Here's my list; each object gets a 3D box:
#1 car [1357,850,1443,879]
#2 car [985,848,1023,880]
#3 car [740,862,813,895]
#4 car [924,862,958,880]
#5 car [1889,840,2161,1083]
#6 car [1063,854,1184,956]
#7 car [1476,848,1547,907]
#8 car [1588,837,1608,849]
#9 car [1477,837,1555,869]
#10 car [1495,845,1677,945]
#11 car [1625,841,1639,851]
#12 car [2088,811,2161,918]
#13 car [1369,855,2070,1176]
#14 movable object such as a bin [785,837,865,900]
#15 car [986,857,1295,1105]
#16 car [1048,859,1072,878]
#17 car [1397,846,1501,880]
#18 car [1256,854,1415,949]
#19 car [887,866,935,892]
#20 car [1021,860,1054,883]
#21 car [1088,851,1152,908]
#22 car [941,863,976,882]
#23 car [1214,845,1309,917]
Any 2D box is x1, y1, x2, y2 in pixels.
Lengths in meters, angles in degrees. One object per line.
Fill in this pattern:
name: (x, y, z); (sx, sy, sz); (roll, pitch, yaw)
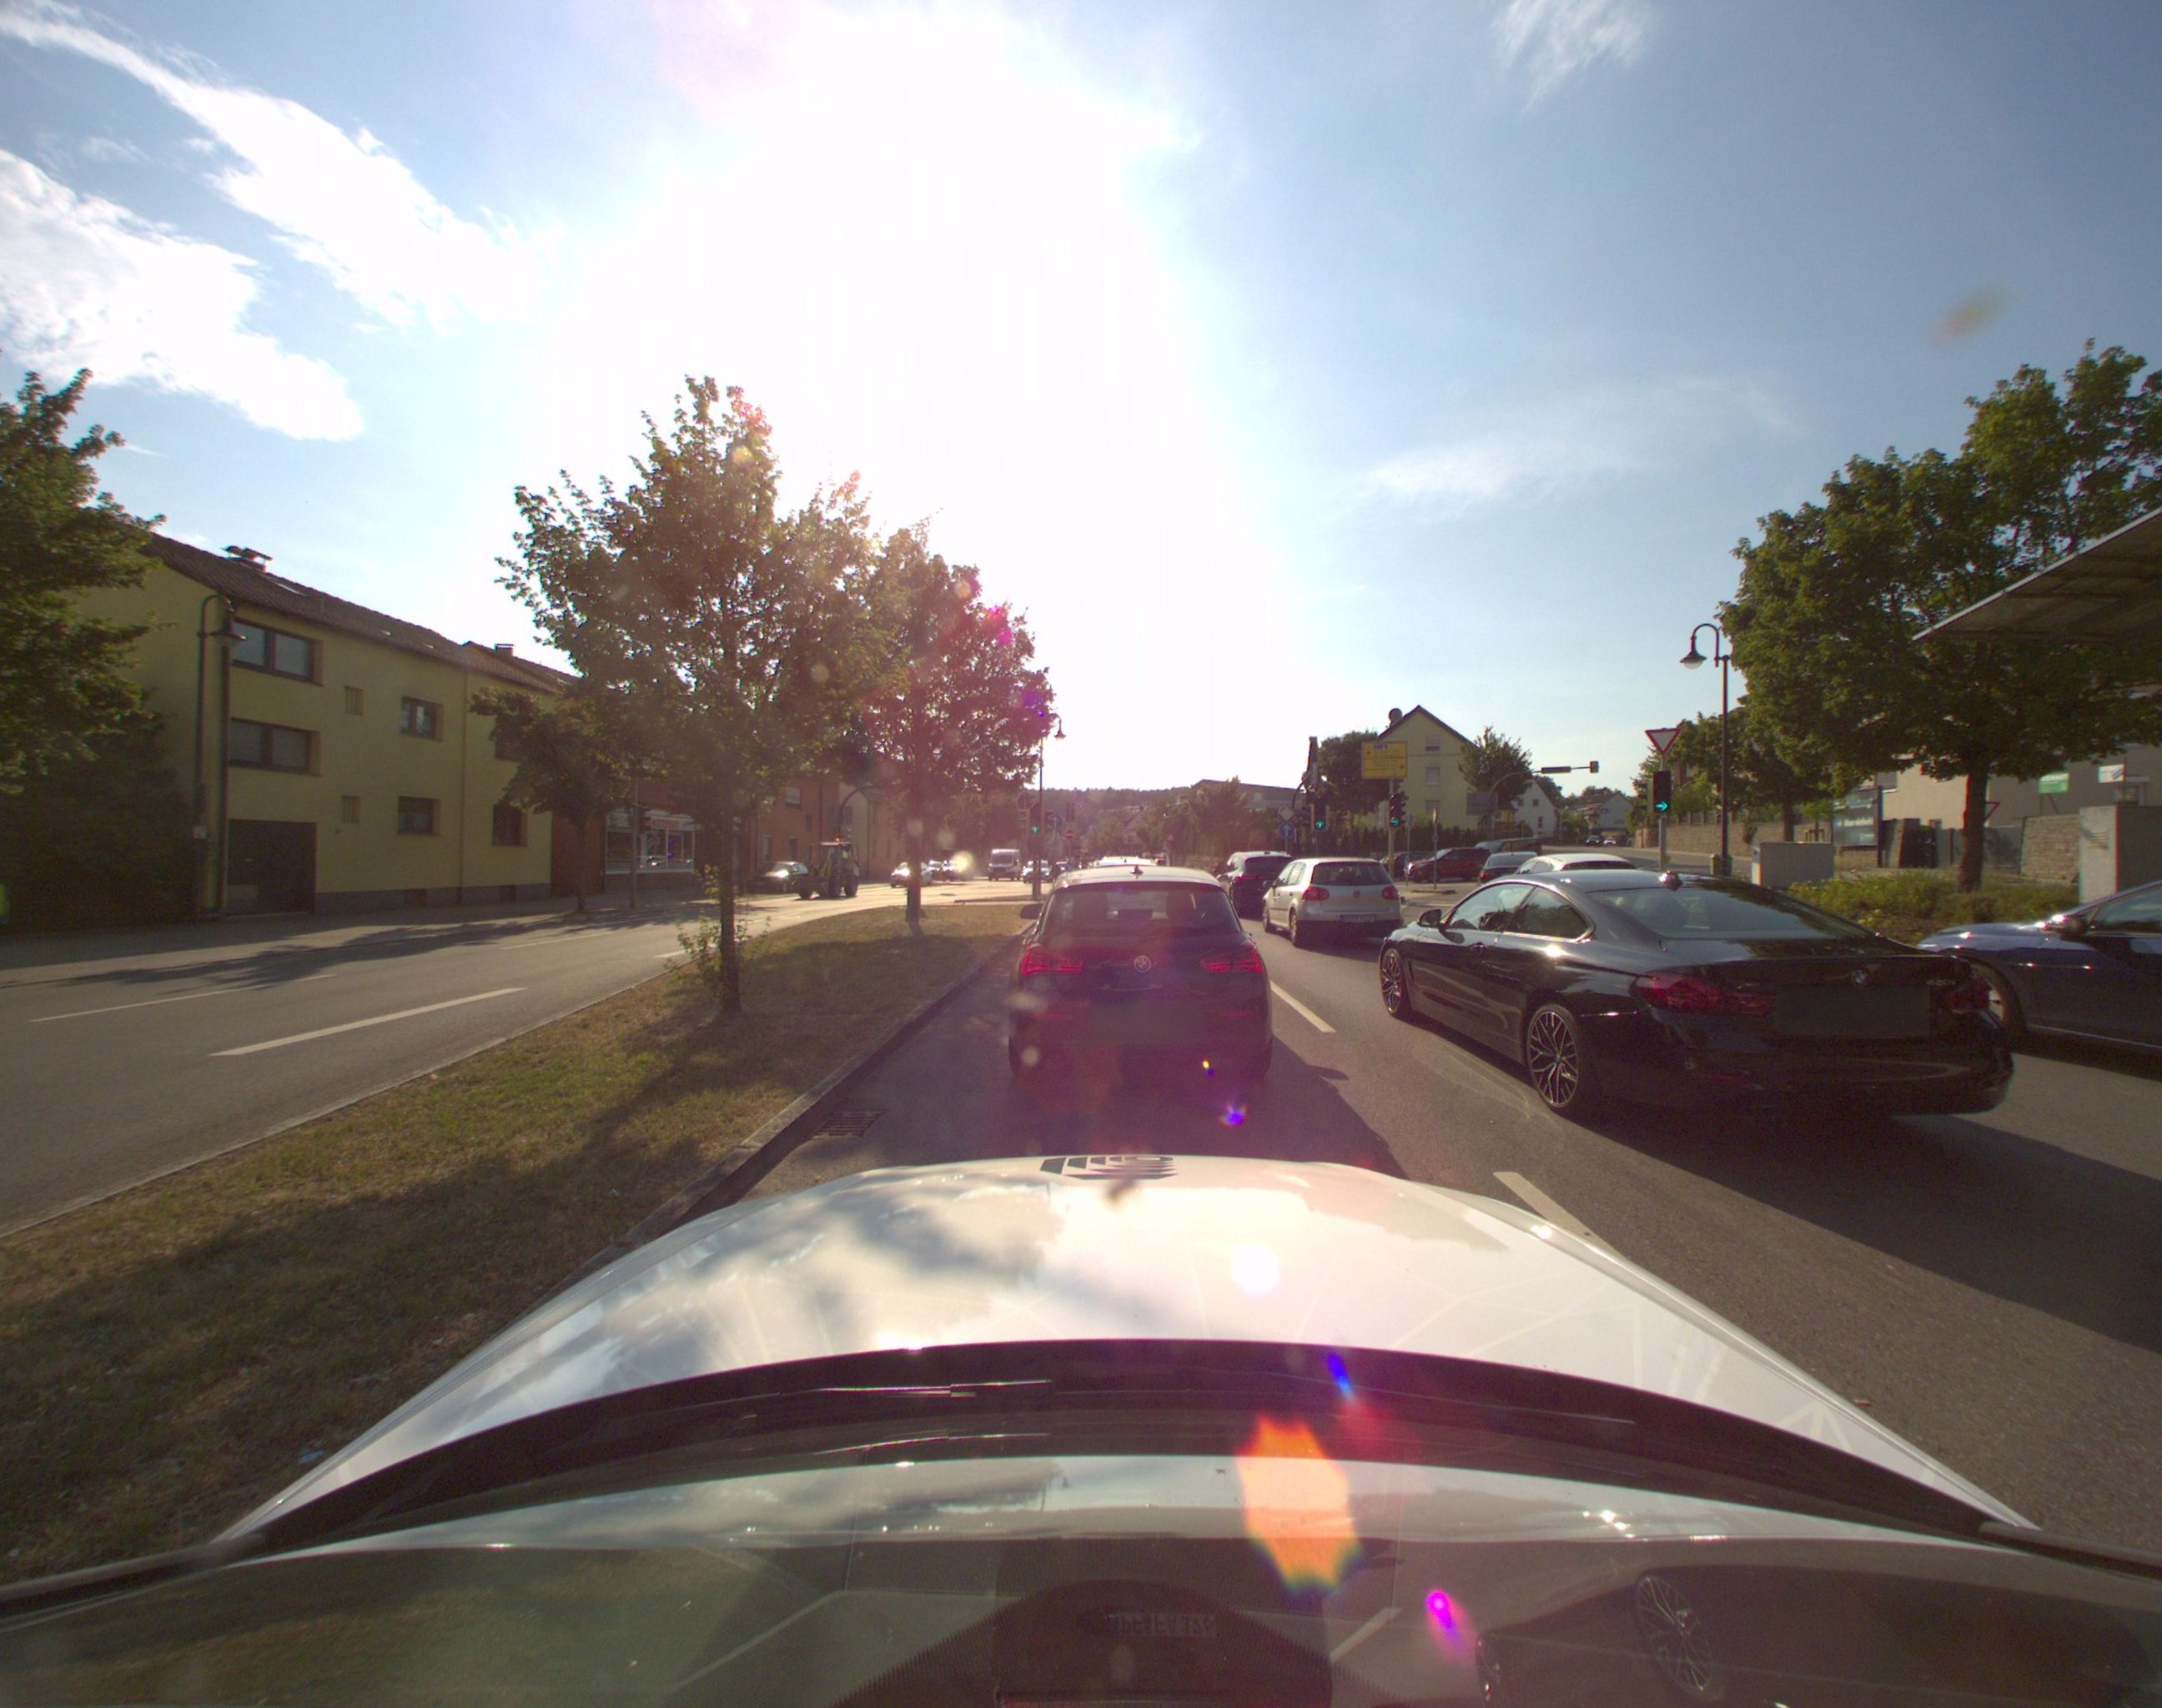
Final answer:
car: (17.348, 0.565, 44.349); (3.974, 1.489, 1.848); (0, 0, -1)
car: (-5.958, 0.803, 63.919); (2.075, 2.394, 5.534); (0, -1, 4)
car: (-14.136, 1.111, 38.021); (1.730, 1.301, 4.002); (4, 0, 2)
car: (-11.686, 1.426, 68.140); (1.728, 1.301, 4.006); (4, 0, 6)
car: (7.432, 0.644, 4.525); (1.754, 1.453, 4.323); (-2, 0, 4)
car: (0.738, 0.775, 14.470); (1.781, 1.494, 4.283); (-2, 0, 2)
car: (12.585, 0.631, 23.923); (1.640, 1.542, 4.425); (-2, 0, 27)
car: (79.412, -1.694, 125.043); (1.946, 1.680, 4.241); (-2, 0, 41)
car: (25.041, -0.064, 46.856); (4.801, 1.739, 1.829); (0, 0, -33)
car: (8.768, 0.644, 14.462); (1.608, 1.542, 3.327); (-2, 0, 10)
car: (101.147, -1.519, 149.416); (1.945, 1.680, 4.242); (-2, 0, 36)
car: (18.496, 0.150, 12.374); (3.793, 1.632, 1.784); (0, 0, 10)
car: (3.622, 0.732, 5.812); (1.755, 1.397, 4.283); (-2, 0, 2)
movable object such as a bin: (-10.638, 0.597, 34.190); (1.729, 2.442, 4.452); (-1, 0, 3)
car: (0.444, 0.766, 6.957); (1.781, 1.397, 4.283); (-2, 0, 2)
car: (-1.799, 1.233, 70.557); (1.832, 1.482, 4.002); (-1, 0, 2)
car: (18.352, 0.451, 40.726); (4.410, 1.641, 1.845); (0, 0, -6)
car: (4.363, 0.737, 14.586); (1.755, 1.426, 3.905); (-2, 0, 2)
car: (-10.116, 1.454, 48.704); (1.729, 1.301, 3.804); (4, 0, 5)
car: (-2.949, 1.151, 55.726); (1.832, 1.482, 4.002); (-1, 0, 2)
car: (1.228, 0.739, 25.671); (1.781, 1.594, 4.283); (-2, 0, 2)
car: (-9.559, 1.413, 63.808); (1.729, 1.301, 3.804); (4, 0, 5)
car: (4.636, 0.645, 21.466); (1.755, 1.656, 3.905); (-2, 0, 2)
